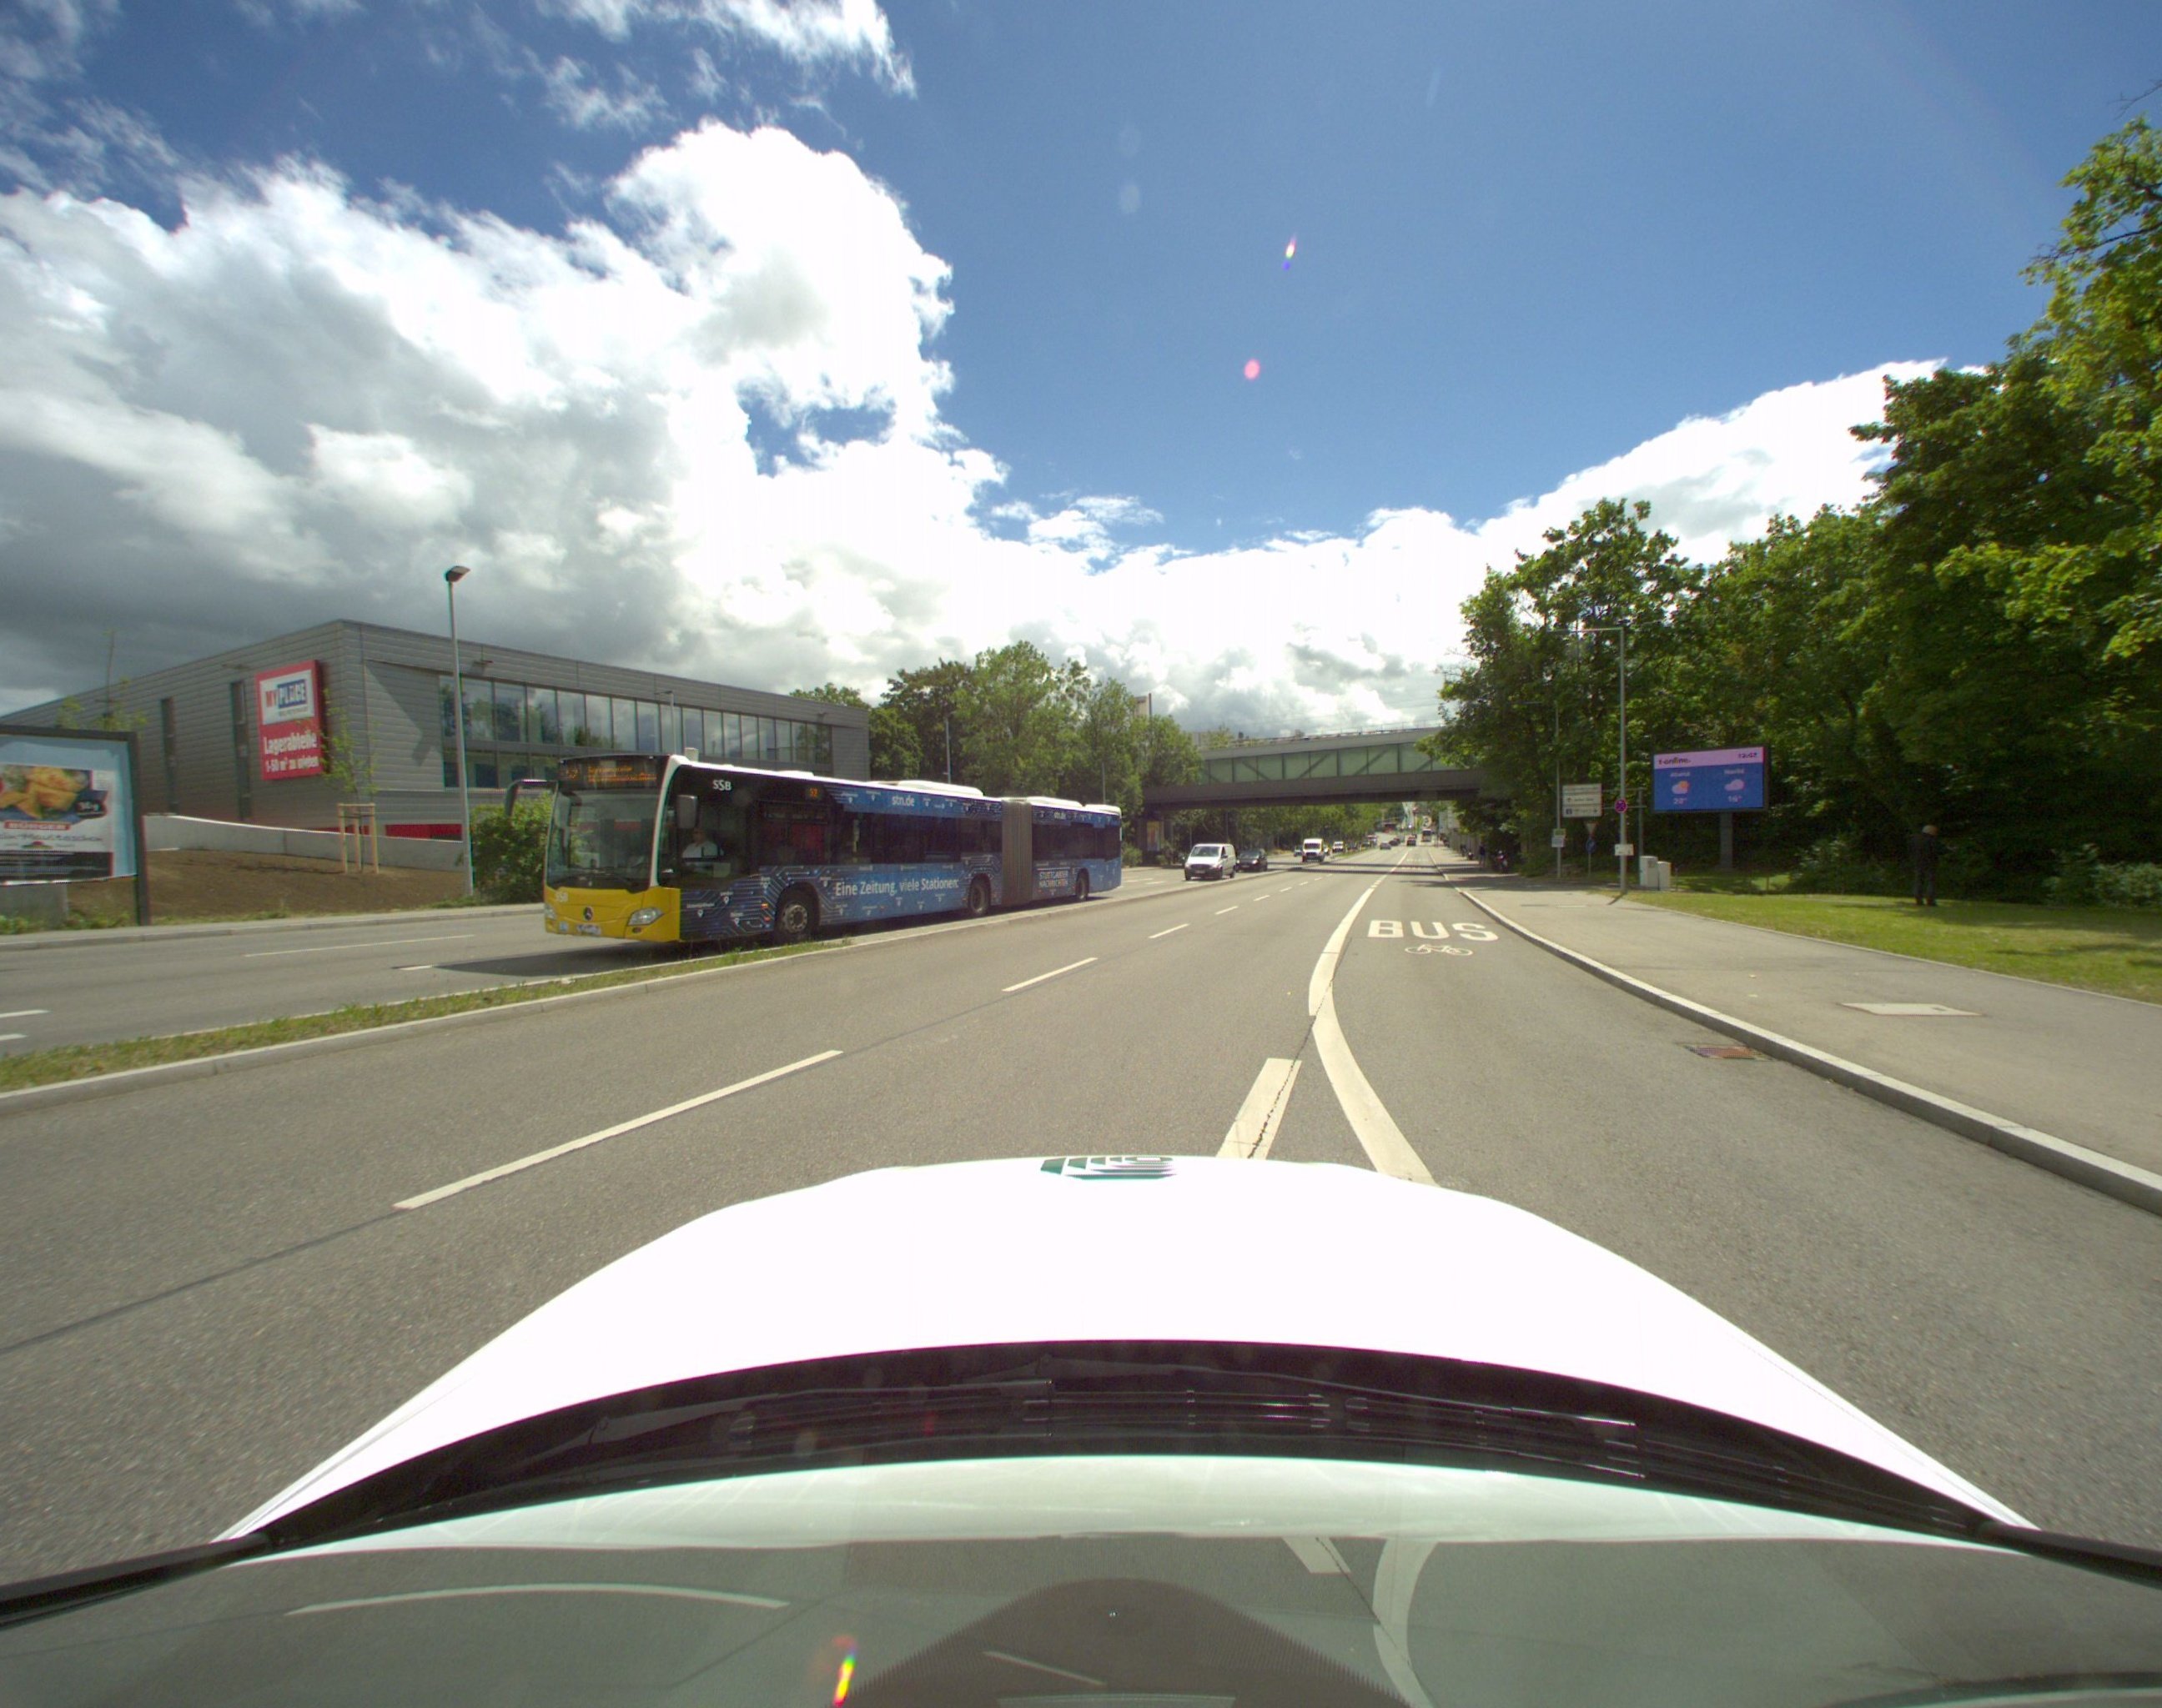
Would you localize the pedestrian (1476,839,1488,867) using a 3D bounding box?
[{"bbox_3d":[26.540,-0.054,53.884,0.617,1.858,0.877,-1,-1,21],"label":"pedestrian"}]

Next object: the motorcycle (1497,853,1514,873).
[{"bbox_3d":[24.233,0.498,46.491,0.542,1.110,2.028,-1,0,20],"label":"motorcycle"}]

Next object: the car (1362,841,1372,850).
[{"bbox_3d":[63.659,-1.832,181.214,1.976,2.013,4.022,-1,0,23],"label":"car"}]

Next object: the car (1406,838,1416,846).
[{"bbox_3d":[72.944,-2.676,179.907,1.976,1.859,4.022,-1,0,22],"label":"car"}]

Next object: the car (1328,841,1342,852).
[{"bbox_3d":[40.812,-1.156,130.826,1.686,1.698,3.945,0,0,22],"label":"car"}]

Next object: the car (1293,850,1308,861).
[{"bbox_3d":[30.467,0.221,112.927,1.686,1.551,3.944,0,0,20],"label":"car"}]

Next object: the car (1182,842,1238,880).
[{"bbox_3d":[6.948,0.329,43.409,1.860,1.924,4.777,0,1,23],"label":"car"}]

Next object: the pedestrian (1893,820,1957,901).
[{"bbox_3d":[18.485,0.133,17.850,0.587,1.718,0.773,-3,1,-5],"label":"pedestrian"}]

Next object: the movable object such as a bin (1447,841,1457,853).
[{"bbox_3d":[68.065,-1.265,149.422,1.649,2.132,1.286,0,0,28],"label":"movable object such as a bin"}]

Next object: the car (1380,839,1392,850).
[{"bbox_3d":[56.739,-1.740,151.528,1.912,1.771,4.024,-1,4,23],"label":"car"}]

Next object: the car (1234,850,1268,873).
[{"bbox_3d":[11.667,0.477,55.724,1.623,1.471,3.797,0,1,22],"label":"car"}]

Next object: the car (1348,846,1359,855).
[{"bbox_3d":[52.180,-0.605,155.750,1.686,1.698,3.946,0,0,23],"label":"car"}]

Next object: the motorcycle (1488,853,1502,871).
[{"bbox_3d":[26.226,0.477,51.644,0.542,1.110,2.028,-1,0,20],"label":"motorcycle"}]

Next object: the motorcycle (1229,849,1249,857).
[{"bbox_3d":[20.423,-0.142,105.362,2.528,1.050,0.678,0,0,29],"label":"motorcycle"}]

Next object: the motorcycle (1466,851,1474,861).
[{"bbox_3d":[40.218,0.189,84.308,0.558,1.029,2.643,-2,0,22],"label":"motorcycle"}]

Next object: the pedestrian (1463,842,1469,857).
[{"bbox_3d":[44.698,-0.522,94.574,0.615,1.618,0.751,-1,4,21],"label":"pedestrian"}]

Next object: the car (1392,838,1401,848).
[{"bbox_3d":[70.115,-2.453,181.156,1.841,1.705,4.023,-1,6,22],"label":"car"}]

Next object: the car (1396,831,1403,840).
[{"bbox_3d":[84.744,-4.921,216.619,1.857,2.013,3.714,-1,4,22],"label":"car"}]

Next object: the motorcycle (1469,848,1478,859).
[{"bbox_3d":[38.833,-0.066,80.580,0.558,1.029,2.643,-2,0,22],"label":"motorcycle"}]

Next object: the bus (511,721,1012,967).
[{"bbox_3d":[-5.039,-0.132,16.078,2.790,3.285,10.176,0,0,24],"label":"bus"}]

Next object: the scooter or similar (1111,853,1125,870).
[{"bbox_3d":[2.768,0.552,60.914,0.606,1.211,1.268,-1,0,22],"label":"scooter or similar"}]

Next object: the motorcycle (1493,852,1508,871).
[{"bbox_3d":[25.170,0.420,48.852,0.542,1.110,2.028,-1,0,20],"label":"motorcycle"}]

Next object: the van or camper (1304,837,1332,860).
[{"bbox_3d":[25.089,-0.585,86.194,1.990,2.401,6.434,-1,0,24],"label":"van or camper"}]

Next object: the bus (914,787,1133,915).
[{"bbox_3d":[-1.267,-0.155,24.815,2.790,3.163,8.958,0,1,24],"label":"bus"}]

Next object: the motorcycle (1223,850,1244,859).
[{"bbox_3d":[19.321,0.073,102.990,2.528,1.050,0.678,0,0,29],"label":"motorcycle"}]

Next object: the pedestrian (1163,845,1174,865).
[{"bbox_3d":[7.388,0.090,68.658,0.718,1.622,0.724,4,5,21],"label":"pedestrian"}]

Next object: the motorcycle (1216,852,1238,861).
[{"bbox_3d":[18.071,0.274,100.921,2.528,1.050,0.678,0,0,29],"label":"motorcycle"}]

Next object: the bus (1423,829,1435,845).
[{"bbox_3d":[96.999,-4.759,227.267,2.772,3.751,9.523,-1,4,22],"label":"bus"}]
